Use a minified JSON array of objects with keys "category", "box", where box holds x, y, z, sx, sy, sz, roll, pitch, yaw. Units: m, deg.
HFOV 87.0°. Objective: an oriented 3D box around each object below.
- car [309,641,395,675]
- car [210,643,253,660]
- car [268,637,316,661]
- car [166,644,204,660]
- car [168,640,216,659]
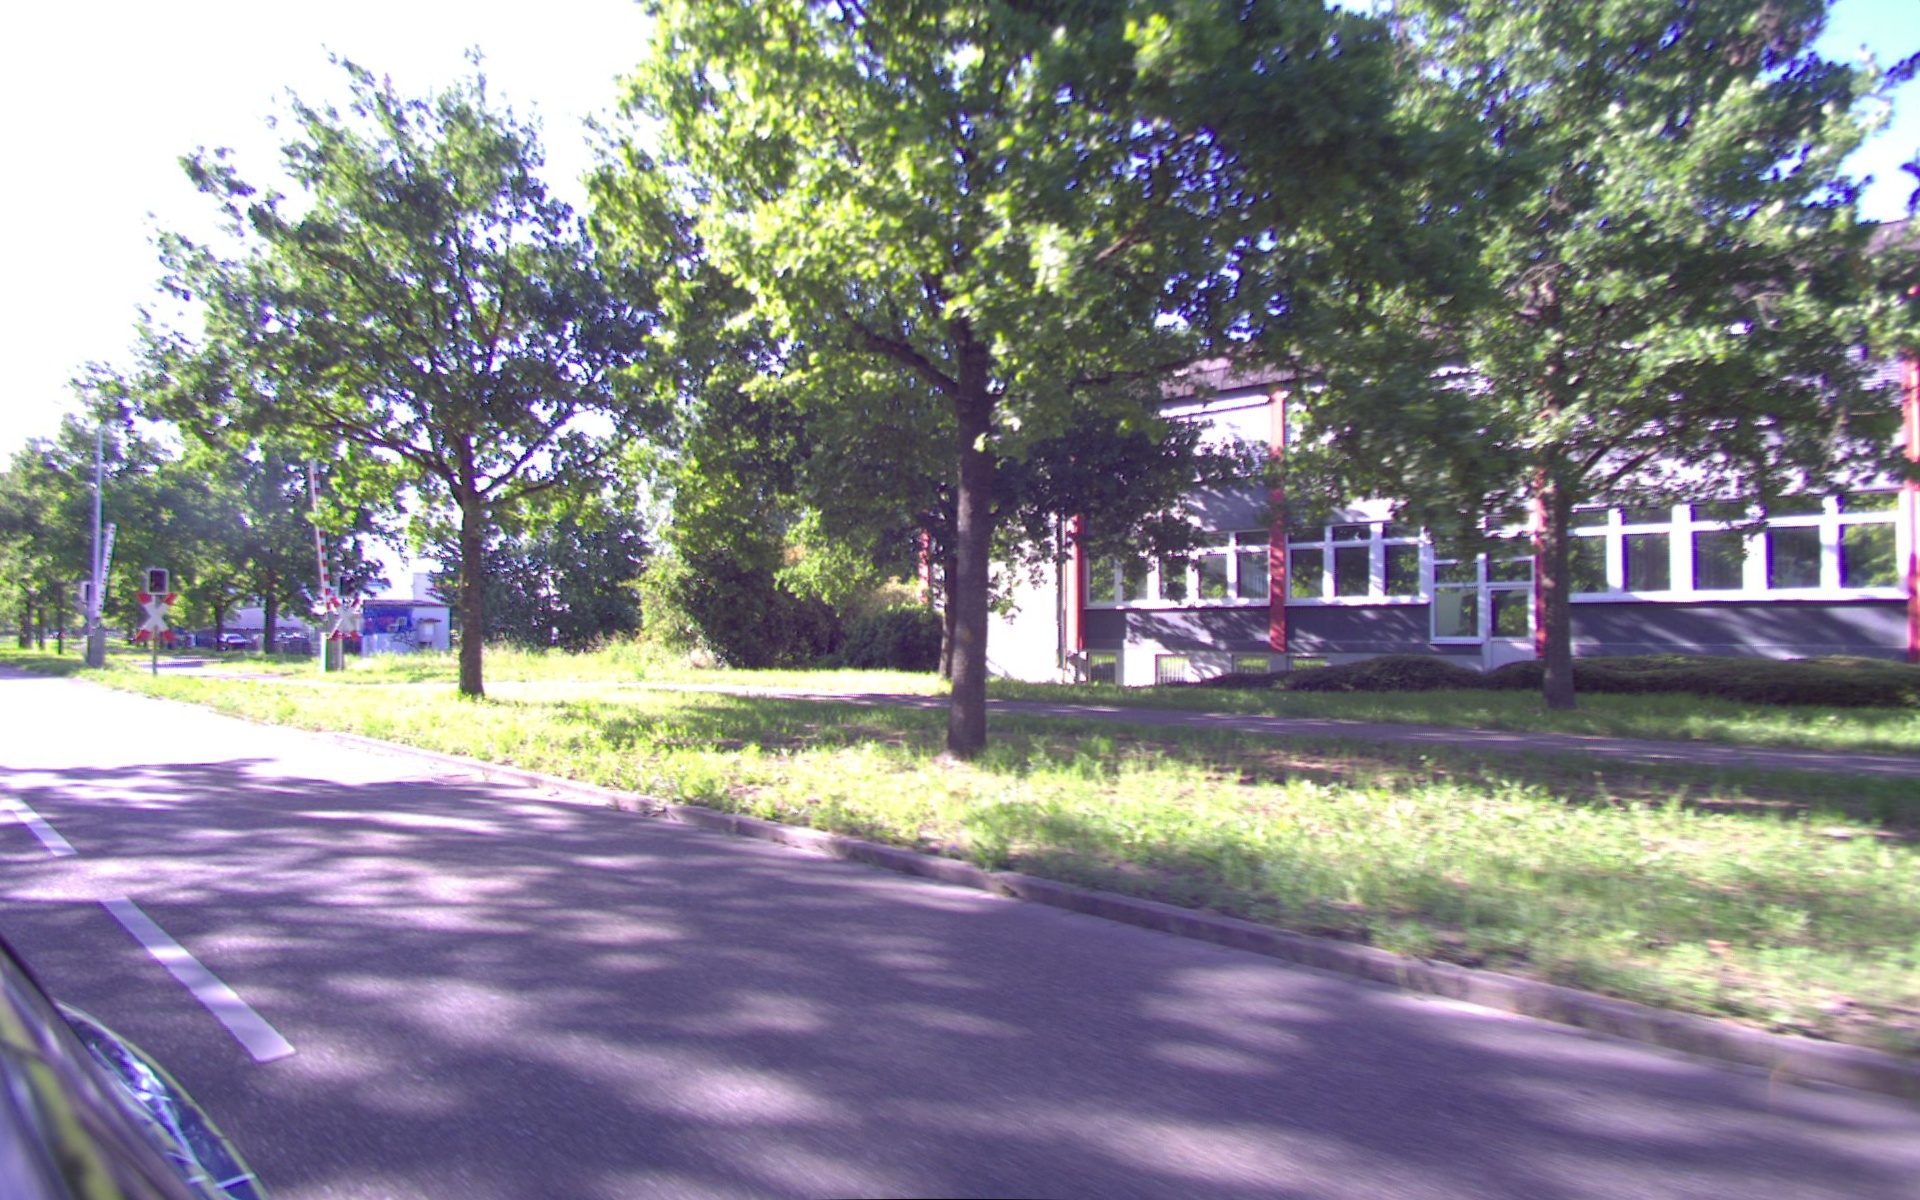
[{"category":"car","box":[-36.391,3.429,60.660,1.997,1.815,3.949,-2,-1,38]},{"category":"car","box":[-74.989,5.321,104.122,4.482,1.688,1.979,-2,-1,31]},{"category":"car","box":[-49.132,3.564,74.375,5.017,1.610,1.971,-2,-1,45]},{"category":"car","box":[-71.894,4.818,93.927,2.531,1.481,1.430,1,-3,-27]},{"category":"car","box":[-81.439,5.223,107.263,3.938,1.755,2.003,-1,-1,-41]}]
